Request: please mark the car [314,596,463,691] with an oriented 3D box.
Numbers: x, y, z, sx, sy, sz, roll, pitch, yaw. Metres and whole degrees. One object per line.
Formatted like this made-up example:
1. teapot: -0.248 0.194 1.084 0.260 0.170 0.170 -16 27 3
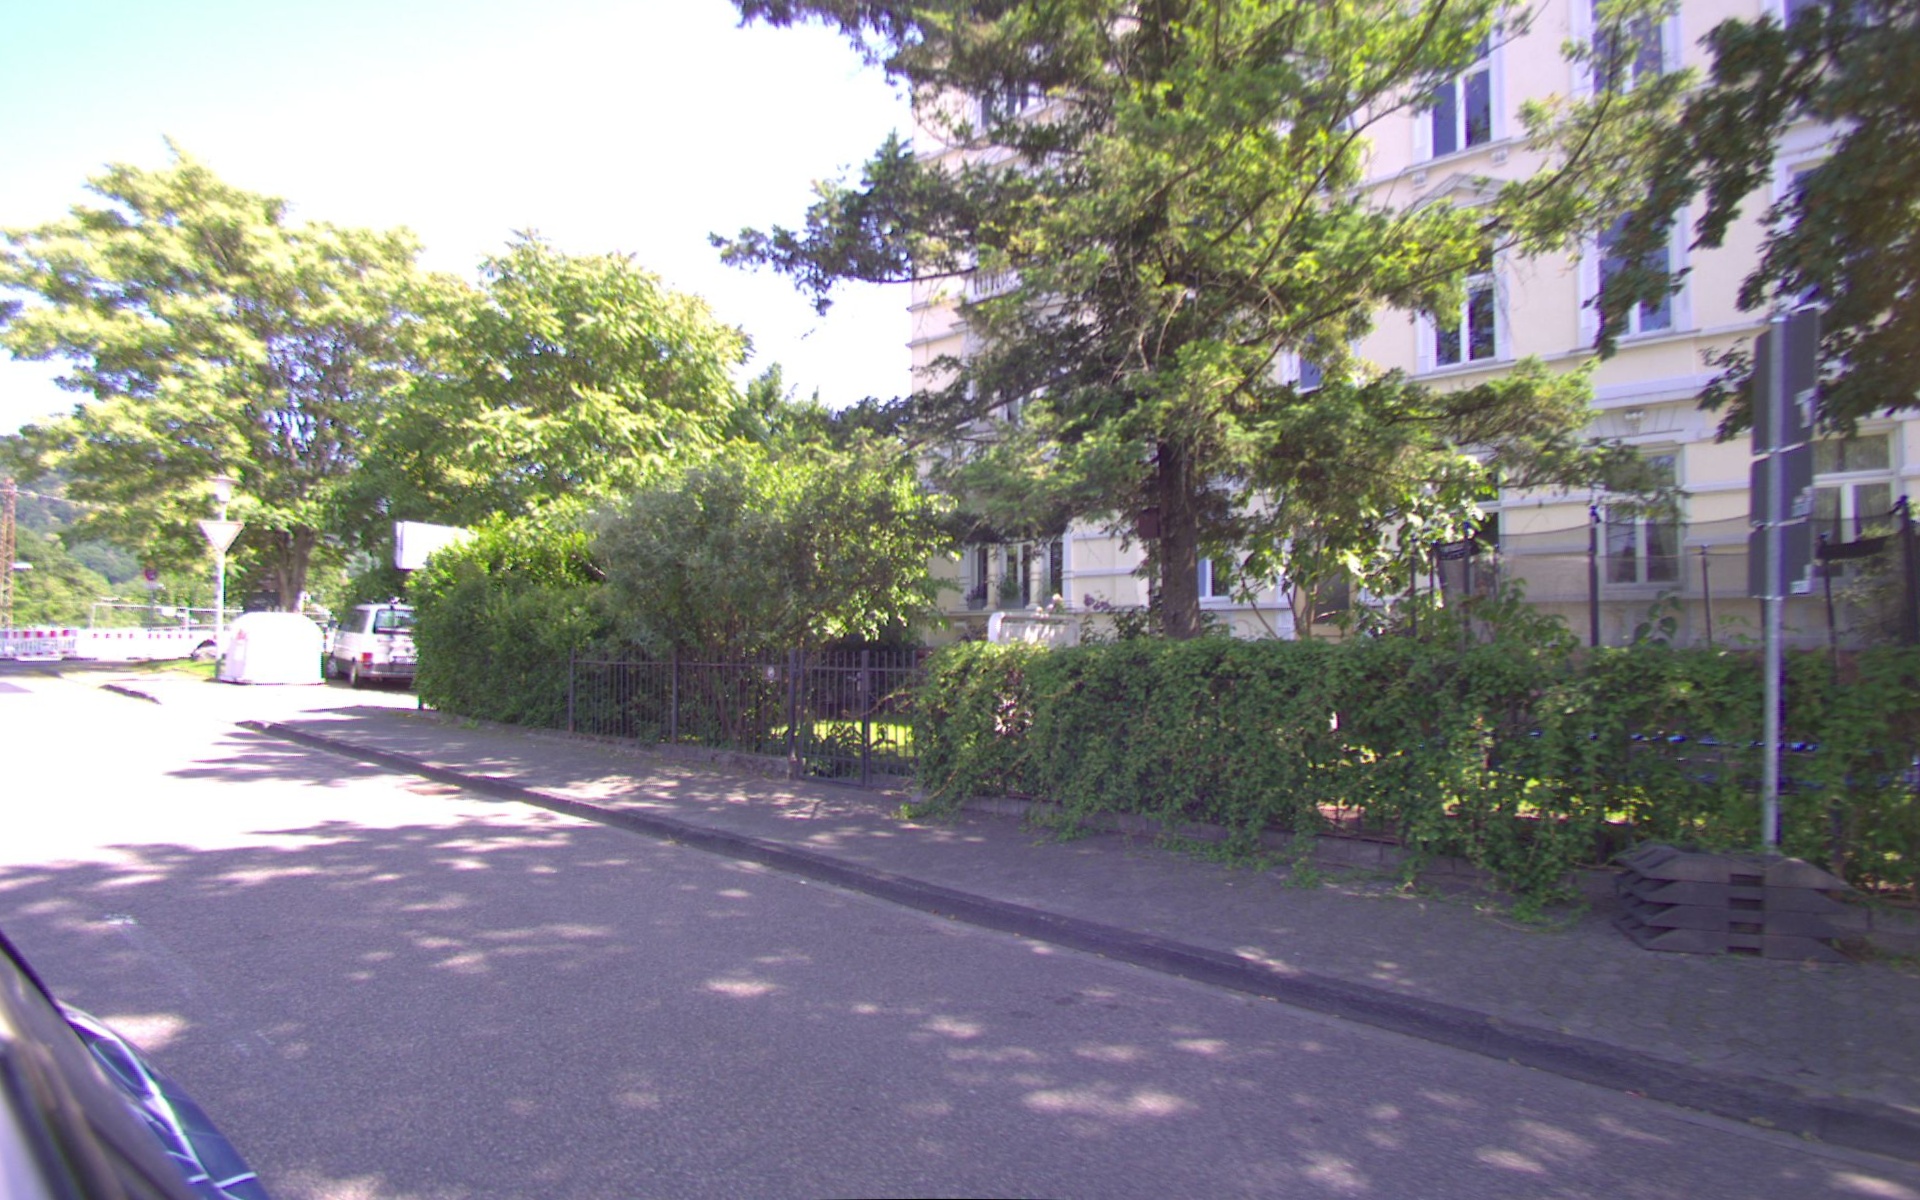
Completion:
1. car: -13.577 0.965 23.874 1.969 1.945 5.108 5 -3 -41
